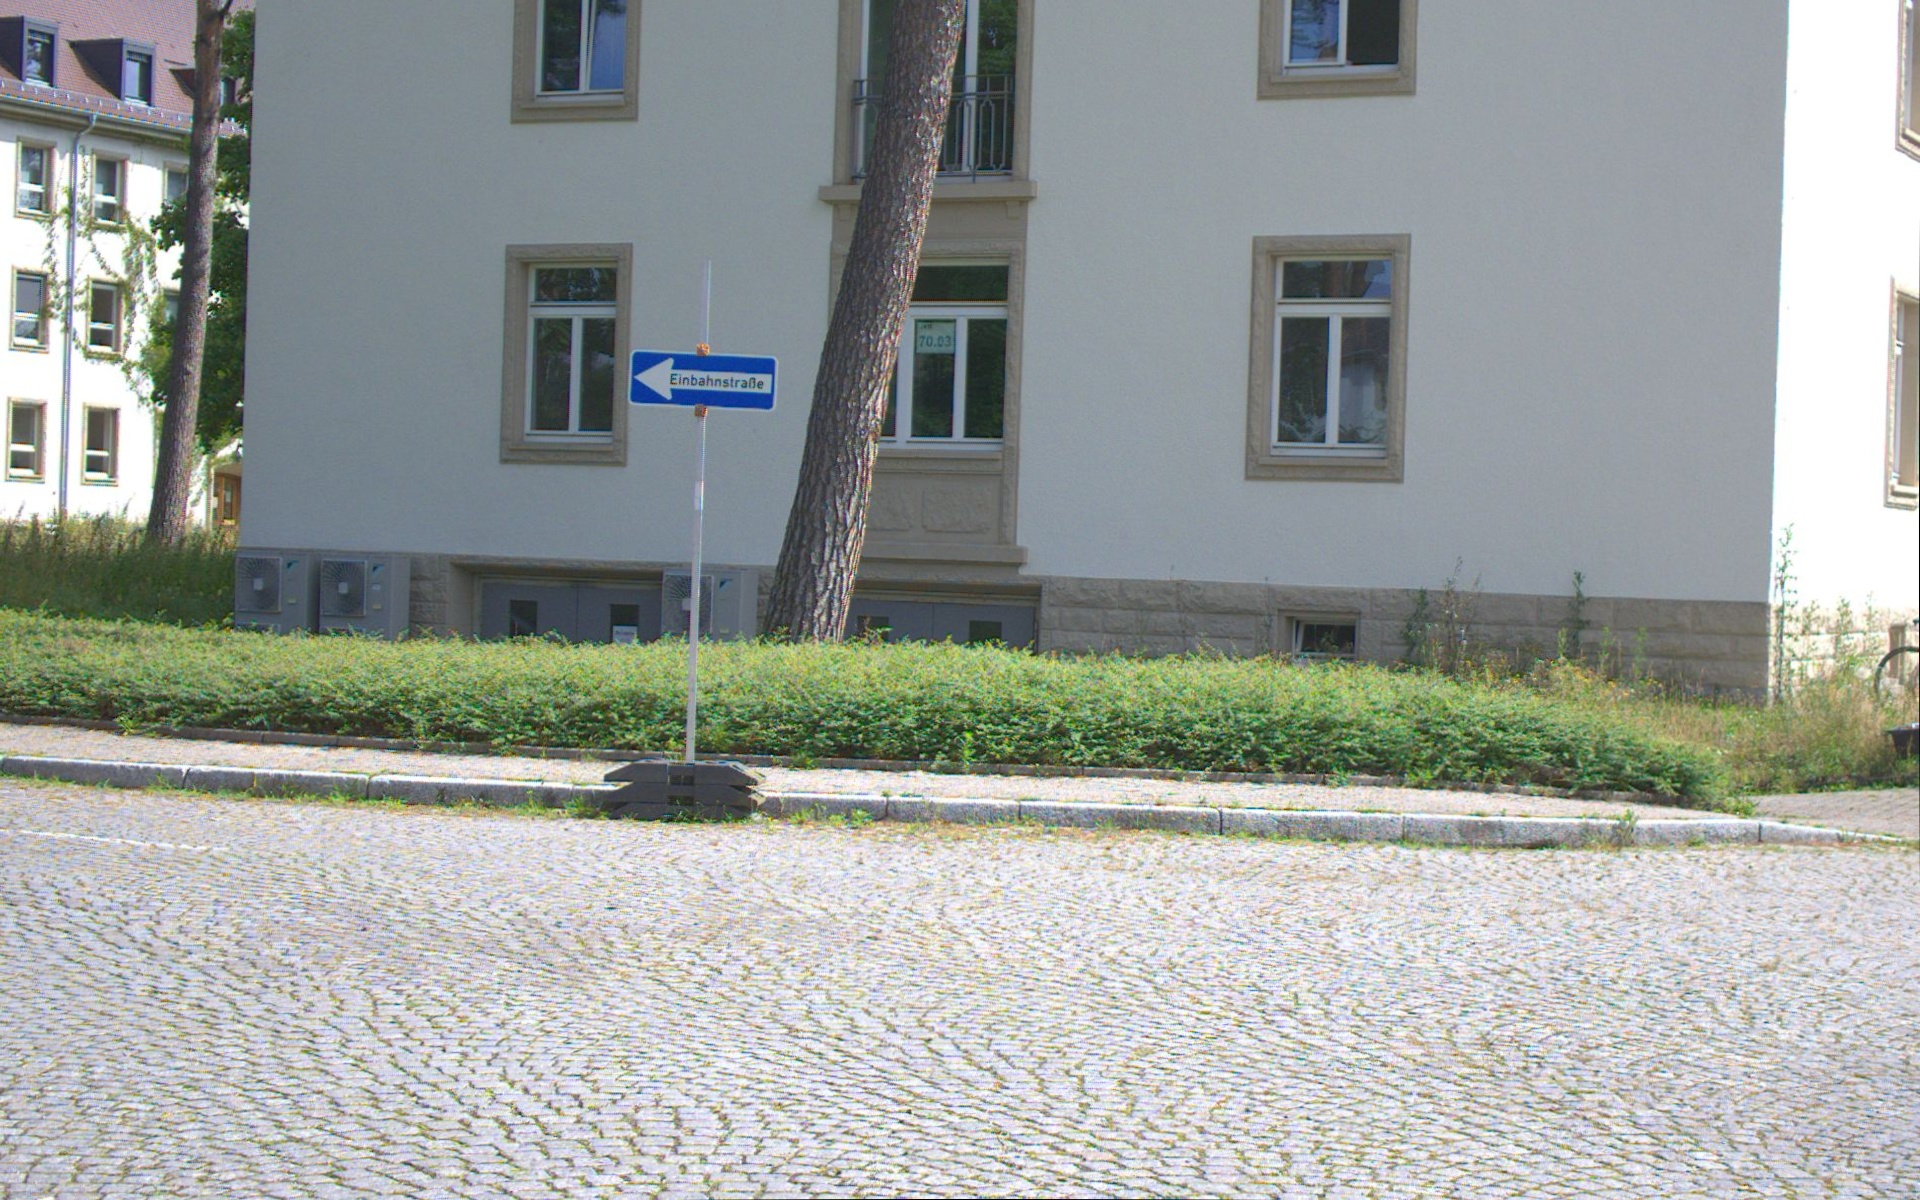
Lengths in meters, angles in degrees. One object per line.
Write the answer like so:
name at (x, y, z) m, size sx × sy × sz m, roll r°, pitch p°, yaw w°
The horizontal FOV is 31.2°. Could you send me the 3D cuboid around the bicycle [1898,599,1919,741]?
bicycle at (9.478, 0.658, 30.266) m, size 2.226 × 1.256 × 0.622 m, roll 2°, pitch 1°, yaw 33°
